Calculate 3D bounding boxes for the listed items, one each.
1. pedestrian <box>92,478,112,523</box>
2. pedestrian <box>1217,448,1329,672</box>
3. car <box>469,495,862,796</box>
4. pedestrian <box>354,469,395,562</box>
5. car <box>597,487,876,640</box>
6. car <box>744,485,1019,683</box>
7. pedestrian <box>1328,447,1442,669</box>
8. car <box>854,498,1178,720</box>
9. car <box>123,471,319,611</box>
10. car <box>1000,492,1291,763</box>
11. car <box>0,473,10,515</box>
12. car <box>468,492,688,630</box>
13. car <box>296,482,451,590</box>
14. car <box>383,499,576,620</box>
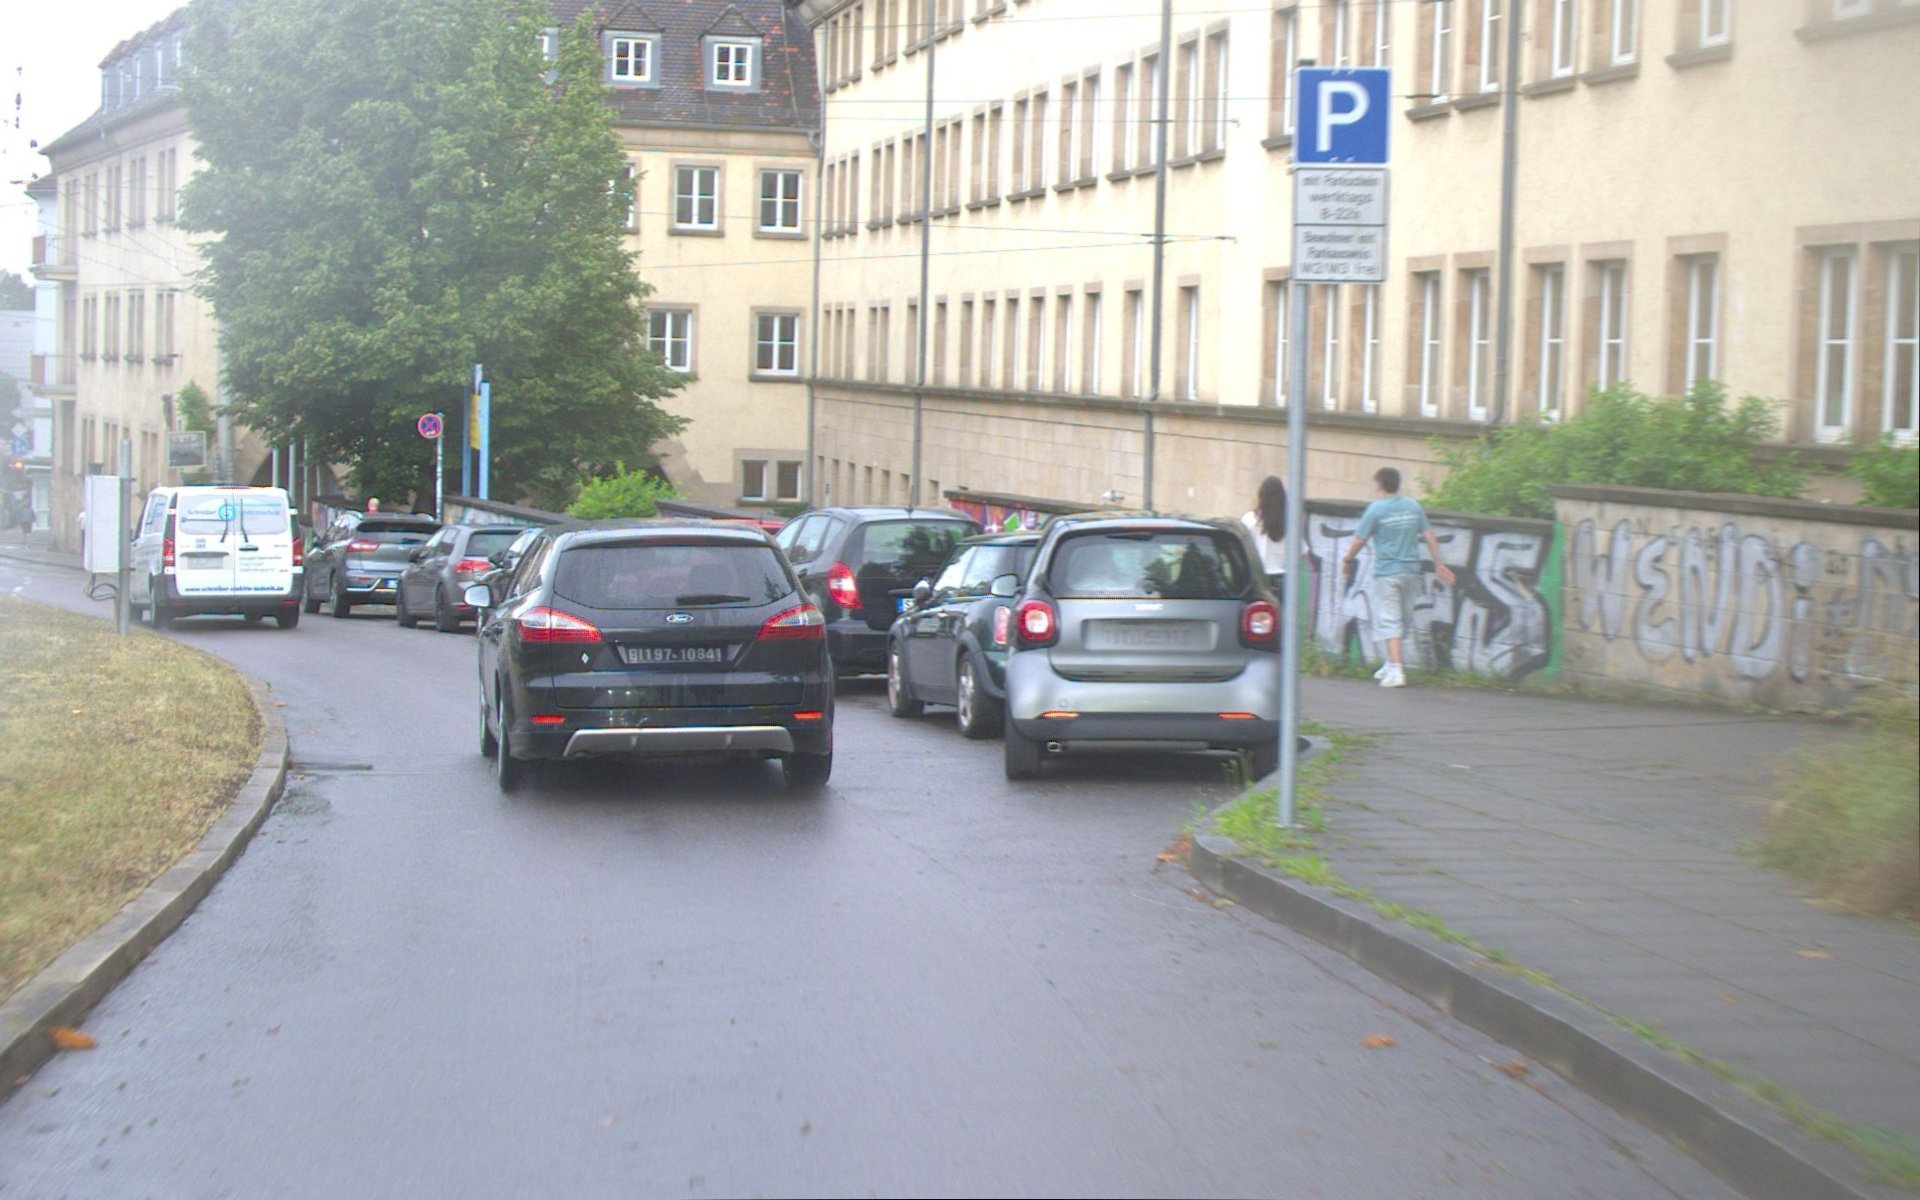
[{"bbox_3d":[-25.436,-2.952,101.954,0.504,1.311,0.511,0,2,-21],"label":"pedestrian"},{"bbox_3d":[2.489,-0.329,27.383,0.717,1.748,0.739,-1,2,-9],"label":"pedestrian"},{"bbox_3d":[-1.795,0.170,19.741,1.919,1.474,4.002,-1,3,-10],"label":"car"},{"bbox_3d":[-10.971,-1.587,64.400,0.632,1.715,0.711,-1,2,-20],"label":"pedestrian"},{"bbox_3d":[-2.373,-0.414,35.533,1.665,1.471,4.067,0,2,-22],"label":"car"},{"bbox_3d":[-0.748,-0.197,29.948,1.665,1.567,3.857,-1,2,-12],"label":"car"},{"bbox_3d":[3.409,-0.345,27.590,0.717,1.748,0.739,-1,2,-9],"label":"pedestrian"},{"bbox_3d":[0.325,0.003,24.613,1.535,1.411,3.645,-1,2,-12],"label":"car"},{"bbox_3d":[-9.947,-0.839,46.057,2.136,1.739,4.220,-1,3,-18],"label":"car"},{"bbox_3d":[1.098,0.113,20.505,1.598,1.460,2.721,-1,2,3],"label":"car"},{"bbox_3d":[-41.360,-4.494,145.232,1.993,1.766,4.001,0,2,-10],"label":"car"},{"bbox_3d":[-4.527,-0.501,40.179,1.665,1.471,4.459,-2,2,-18],"label":"car"},{"bbox_3d":[-8.785,-0.988,51.265,1.665,1.519,4.110,-2,2,-18],"label":"car"},{"bbox_3d":[-6.447,-0.577,45.817,1.665,1.471,4.110,-2,2,-21],"label":"car"}]
